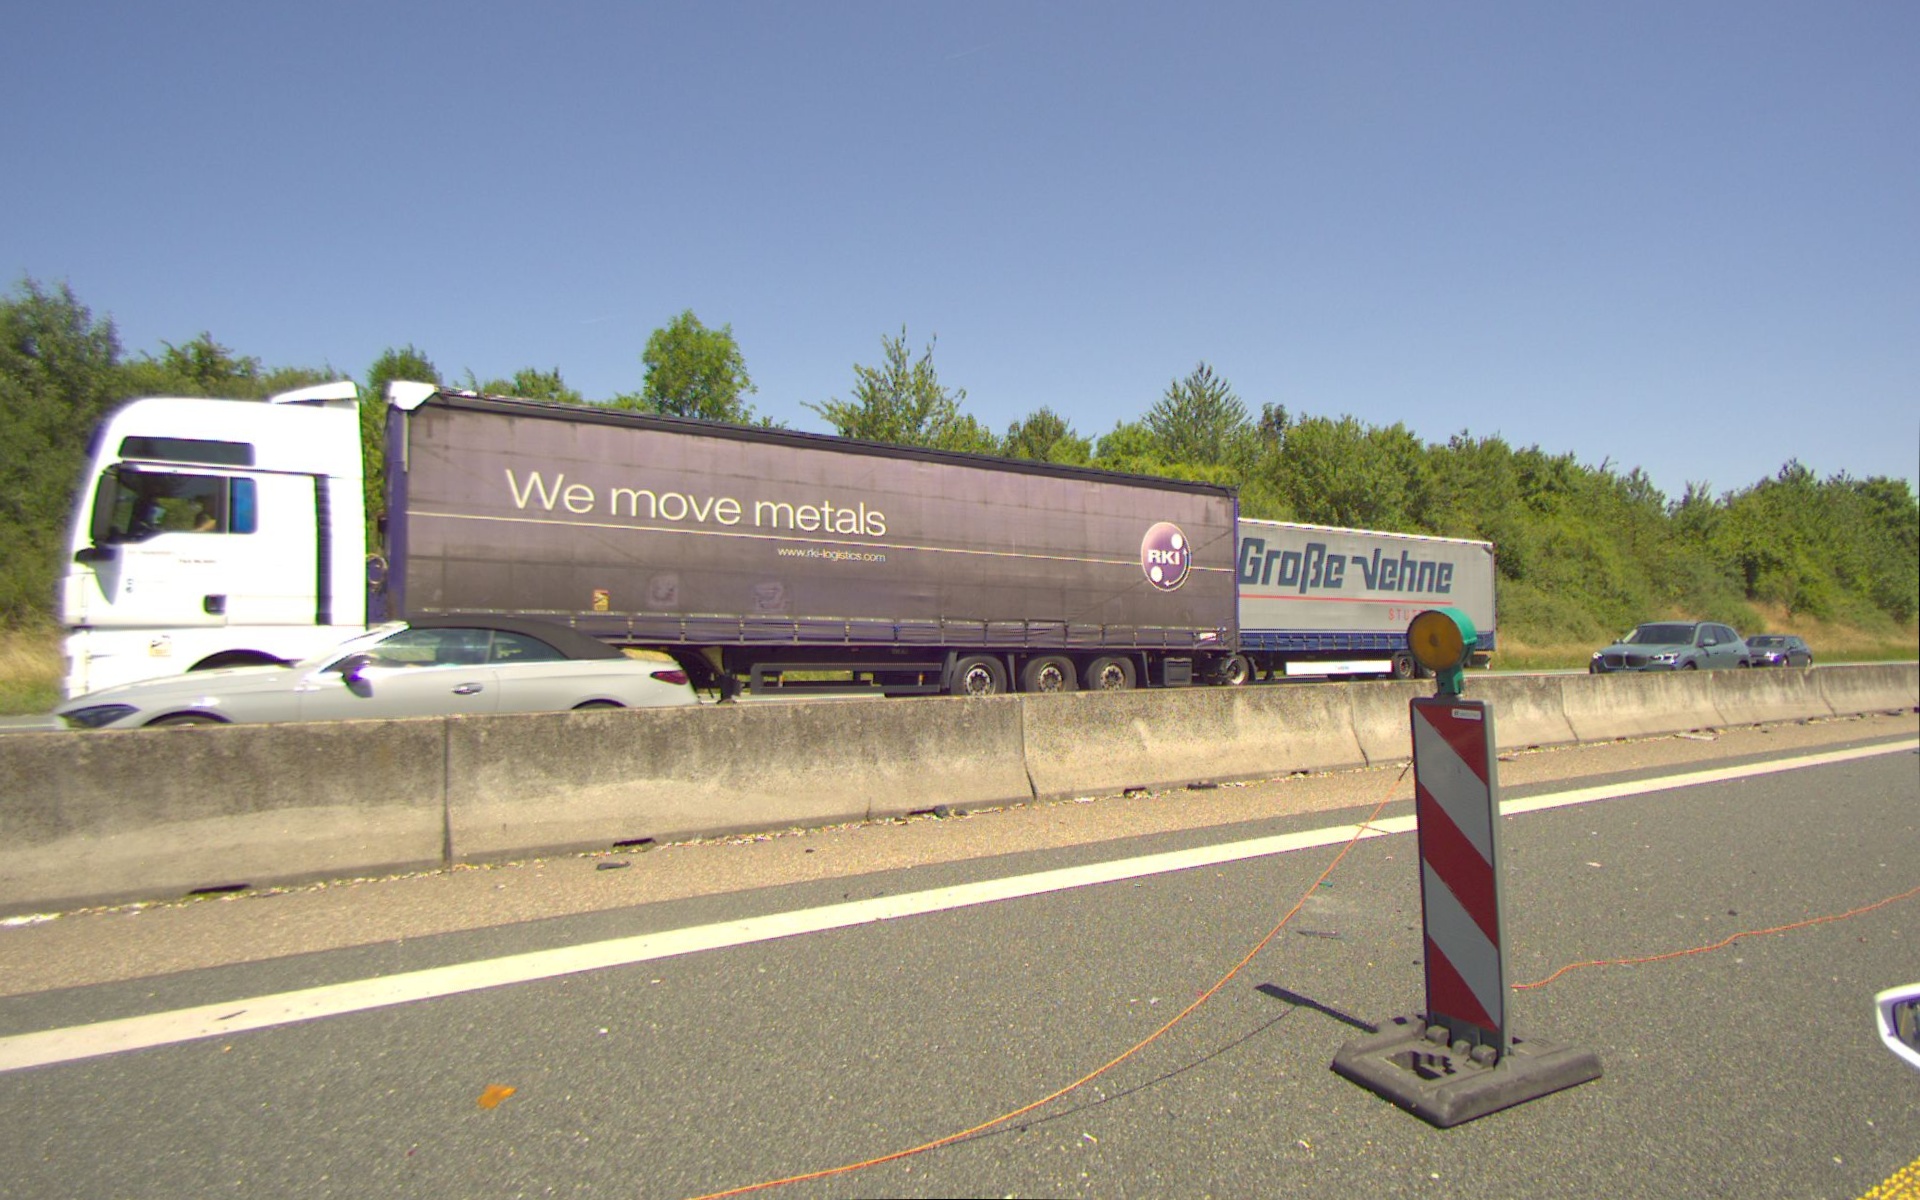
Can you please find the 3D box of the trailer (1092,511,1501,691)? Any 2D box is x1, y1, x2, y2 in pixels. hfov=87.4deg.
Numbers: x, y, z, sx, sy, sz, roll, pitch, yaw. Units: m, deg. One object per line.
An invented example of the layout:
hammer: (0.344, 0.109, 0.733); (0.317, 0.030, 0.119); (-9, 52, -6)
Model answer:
trailer: (9.786, 0.206, 27.811); (13.489, 4.115, 2.937); (1, -3, -33)

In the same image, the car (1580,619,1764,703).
car: (16.046, 1.307, 22.603); (4.346, 1.737, 1.832); (1, -1, -32)

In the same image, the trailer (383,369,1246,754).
trailer: (-1.320, -0.269, 16.021); (13.534, 4.235, 3.143); (1, -1, -32)

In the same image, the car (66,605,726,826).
car: (-4.547, 0.840, 8.769); (4.582, 1.491, 1.753); (1, -1, -32)

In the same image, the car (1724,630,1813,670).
car: (30.431, 1.856, 37.758); (4.047, 1.415, 1.494); (1, -1, -34)

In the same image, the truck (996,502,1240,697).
truck: (3.775, 0.073, 23.939); (5.140, 4.131, 2.929); (1, -2, -33)

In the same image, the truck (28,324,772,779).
truck: (-6.432, -0.363, 12.750); (7.333, 4.280, 3.147); (1, -1, -32)
